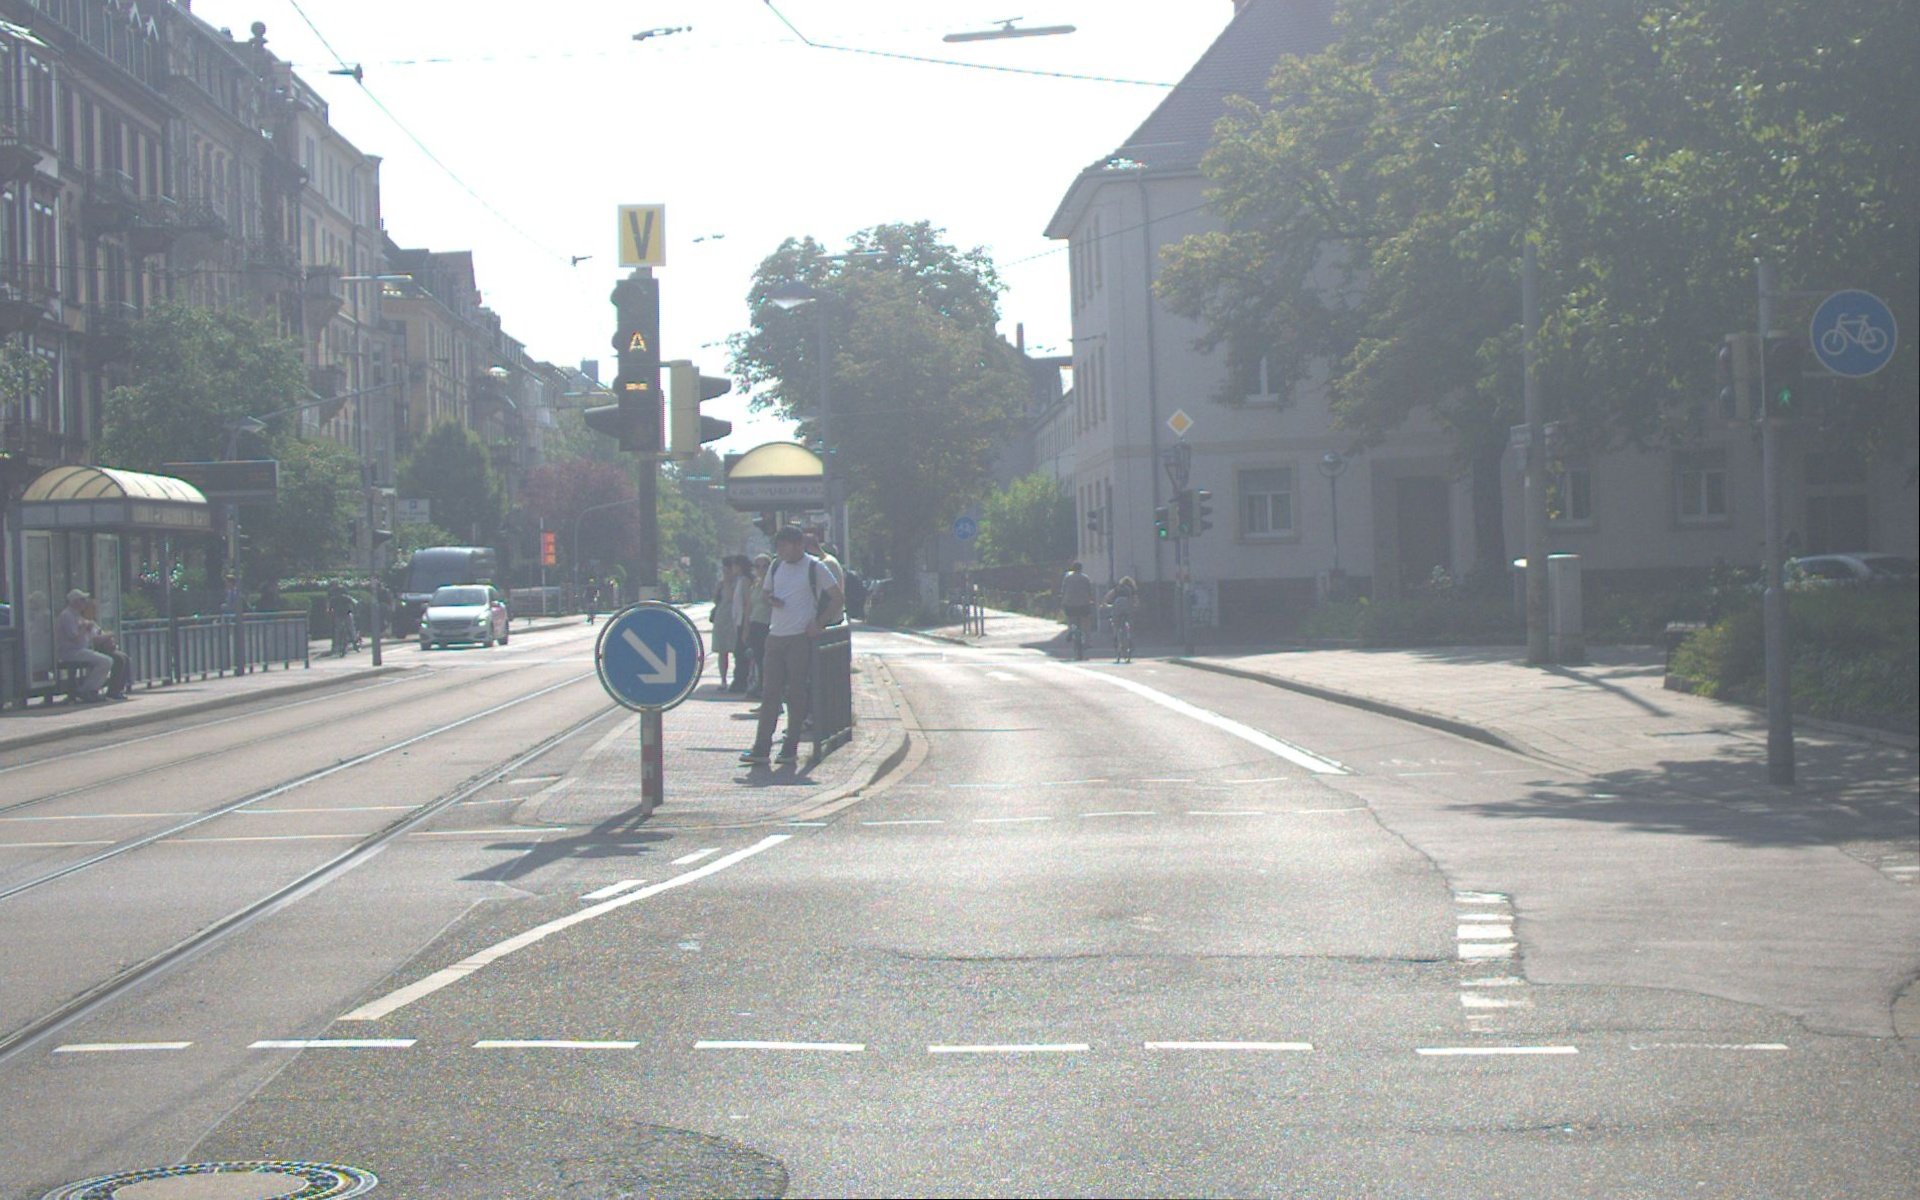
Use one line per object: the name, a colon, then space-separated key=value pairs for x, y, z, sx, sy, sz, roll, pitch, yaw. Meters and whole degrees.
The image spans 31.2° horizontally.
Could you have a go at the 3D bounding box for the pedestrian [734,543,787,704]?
pedestrian: x=-2.226 y=0.257 z=38.335 sx=0.543 sy=1.753 sz=0.534 roll=1 pitch=3 yaw=-1

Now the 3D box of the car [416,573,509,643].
car: x=-12.443 y=0.181 z=86.142 sx=1.801 sy=1.648 sz=3.642 roll=-2 pitch=1 yaw=0

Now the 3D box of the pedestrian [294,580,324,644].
pedestrian: x=-17.774 y=0.335 z=93.902 sx=0.750 sy=1.725 sz=0.772 roll=-2 pitch=0 yaw=-10

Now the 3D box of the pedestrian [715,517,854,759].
pedestrian: x=-1.292 y=0.265 z=25.366 sx=0.701 sy=1.719 sz=0.747 roll=3 pitch=3 yaw=32

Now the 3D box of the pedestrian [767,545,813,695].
pedestrian: x=-2.030 y=0.233 z=41.145 sx=0.504 sy=1.753 sz=0.534 roll=1 pitch=3 yaw=-1

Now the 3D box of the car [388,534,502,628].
car: x=-15.126 y=-0.571 z=101.253 sx=2.347 sy=2.653 sz=5.104 roll=-2 pitch=0 yaw=3

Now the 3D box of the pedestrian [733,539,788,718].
pedestrian: x=-1.992 y=0.277 z=34.328 sx=0.504 sy=1.753 sz=0.534 roll=1 pitch=3 yaw=-1

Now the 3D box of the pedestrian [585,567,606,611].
pedestrian: x=-14.517 y=-0.453 z=136.808 sx=0.750 sy=1.725 sz=0.772 roll=-2 pitch=0 yaw=-10

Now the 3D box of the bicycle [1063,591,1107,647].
bicycle: x=2.281 y=0.336 z=63.001 sx=0.629 sy=0.974 sz=1.770 roll=-2 pitch=1 yaw=-3

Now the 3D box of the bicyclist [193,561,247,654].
bicyclist: x=-14.884 y=0.148 z=69.133 sx=0.986 sy=1.851 sz=0.493 roll=-2 pitch=0 yaw=-16

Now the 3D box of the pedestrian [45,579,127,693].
pedestrian: x=-10.640 y=0.427 z=41.888 sx=0.827 sy=1.354 sz=0.776 roll=-2 pitch=0 yaw=-6

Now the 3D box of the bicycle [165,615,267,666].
bicycle: x=-14.954 y=0.810 z=69.106 sx=1.935 sy=0.974 sz=0.496 roll=-2 pitch=0 yaw=-16

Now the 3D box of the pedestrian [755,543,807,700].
pedestrian: x=-2.034 y=0.243 z=39.146 sx=0.543 sy=1.753 sz=0.534 roll=1 pitch=3 yaw=-1

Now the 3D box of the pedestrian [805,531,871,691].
pedestrian: x=-1.368 y=0.121 z=38.531 sx=0.709 sy=1.753 sz=0.534 roll=1 pitch=3 yaw=-1

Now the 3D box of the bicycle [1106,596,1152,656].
bicycle: x=2.883 y=0.436 z=58.763 sx=0.558 sy=0.974 sz=1.856 roll=-2 pitch=1 yaw=-3

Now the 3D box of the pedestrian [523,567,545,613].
pedestrian: x=-16.228 y=-0.395 z=131.017 sx=0.750 sy=1.725 sz=0.772 roll=-2 pitch=0 yaw=-10

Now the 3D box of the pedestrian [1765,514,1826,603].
pedestrian: x=16.700 y=-0.828 z=68.725 sx=0.893 sy=1.734 sz=0.774 roll=-1 pitch=0 yaw=41

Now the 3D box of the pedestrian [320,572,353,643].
pedestrian: x=-15.357 y=0.178 z=84.649 sx=0.750 sy=1.725 sz=0.772 roll=-2 pitch=0 yaw=-10

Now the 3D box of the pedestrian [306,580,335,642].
pedestrian: x=-18.011 y=0.297 z=96.760 sx=0.750 sy=1.725 sz=0.772 roll=-2 pitch=0 yaw=-10

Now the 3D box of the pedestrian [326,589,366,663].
pedestrian: x=-14.615 y=0.609 z=81.888 sx=0.750 sy=1.725 sz=0.771 roll=-2 pitch=0 yaw=1

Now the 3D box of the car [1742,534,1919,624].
car: x=14.989 y=-0.367 z=58.552 sx=1.752 sy=1.424 sz=4.147 roll=-2 pitch=1 yaw=-10

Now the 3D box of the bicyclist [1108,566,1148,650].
bicyclist: x=2.867 y=0.136 z=58.774 sx=0.558 sy=1.412 sz=0.872 roll=-2 pitch=1 yaw=-3

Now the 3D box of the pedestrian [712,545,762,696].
pedestrian: x=-2.629 y=0.237 z=40.558 sx=0.532 sy=1.753 sz=0.545 roll=1 pitch=3 yaw=0

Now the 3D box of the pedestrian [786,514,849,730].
pedestrian: x=-1.228 y=0.181 z=29.632 sx=0.504 sy=1.827 sz=0.534 roll=1 pitch=3 yaw=-1

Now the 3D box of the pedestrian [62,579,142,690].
pedestrian: x=-10.687 y=0.421 z=42.865 sx=0.827 sy=1.354 sz=0.776 roll=-2 pitch=0 yaw=-6

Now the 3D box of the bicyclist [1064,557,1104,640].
bicyclist: x=2.277 y=-0.036 z=62.995 sx=0.629 sy=1.502 sz=0.678 roll=-2 pitch=1 yaw=-3
